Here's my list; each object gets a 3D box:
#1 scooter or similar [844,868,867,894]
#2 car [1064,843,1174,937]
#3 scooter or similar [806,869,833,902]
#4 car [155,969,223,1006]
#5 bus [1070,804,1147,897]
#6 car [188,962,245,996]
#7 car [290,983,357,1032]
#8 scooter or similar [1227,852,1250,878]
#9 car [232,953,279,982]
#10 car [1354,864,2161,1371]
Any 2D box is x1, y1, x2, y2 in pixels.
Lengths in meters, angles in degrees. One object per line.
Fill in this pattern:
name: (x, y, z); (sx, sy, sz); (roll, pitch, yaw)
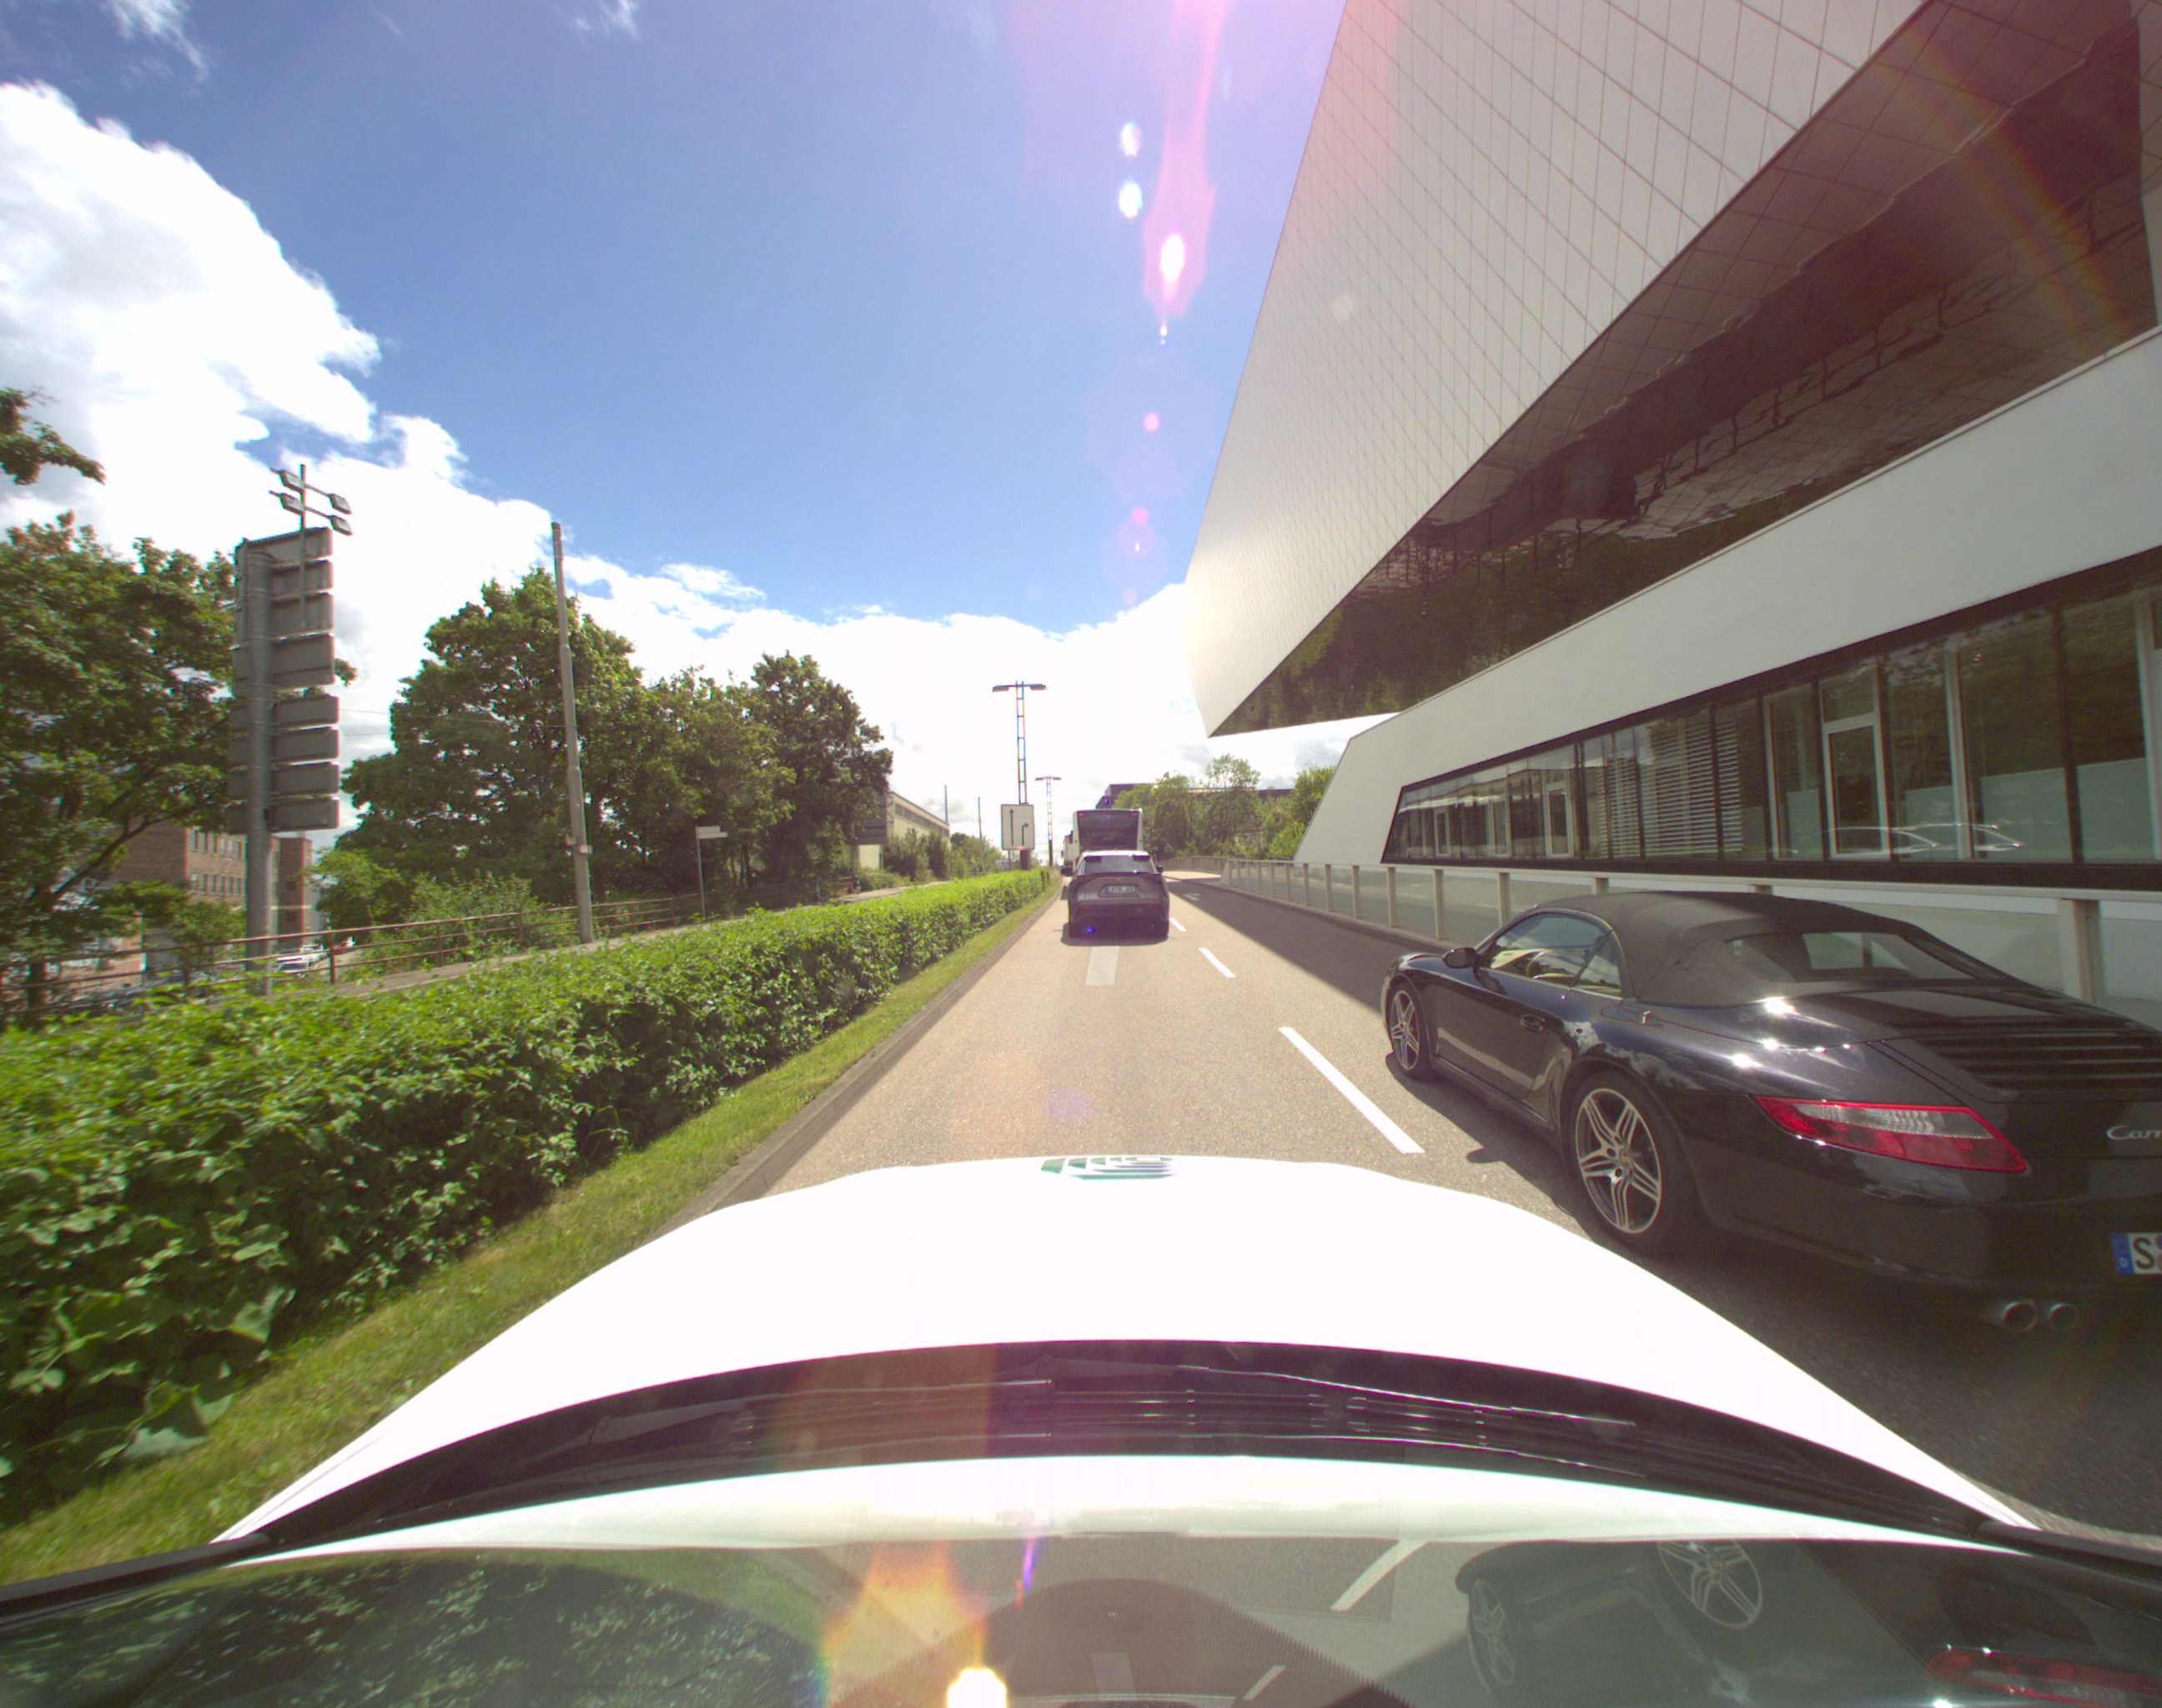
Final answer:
scooter or similar: (-10.932, 1.291, 39.515); (0.489, 1.216, 1.644); (-3, 0, 3)
car: (0.685, 0.637, 16.187); (1.873, 1.594, 4.229); (-1, -1, 1)
scooter or similar: (-10.953, 1.301, 34.146); (0.489, 1.304, 1.644); (-1, 0, 3)
car: (-51.323, 7.655, 46.913); (1.727, 1.527, 3.722); (-3, 0, -34)
bus: (1.196, -0.194, 34.789); (2.678, 3.255, 12.064); (-1, 1, 2)
car: (-54.085, 7.804, 51.022); (1.727, 1.527, 3.721); (-3, 0, -35)
car: (-34.211, 6.897, 36.884); (1.728, 1.527, 3.720); (-3, 0, -36)
scooter or similar: (7.757, 0.545, 40.140); (0.651, 1.214, 1.856); (-3, -1, -2)
car: (-59.216, 8.110, 58.470); (1.728, 1.527, 3.720); (-3, 0, -37)
car: (2.907, 0.717, 4.183); (1.713, 1.275, 4.089); (-1, -1, 1)
